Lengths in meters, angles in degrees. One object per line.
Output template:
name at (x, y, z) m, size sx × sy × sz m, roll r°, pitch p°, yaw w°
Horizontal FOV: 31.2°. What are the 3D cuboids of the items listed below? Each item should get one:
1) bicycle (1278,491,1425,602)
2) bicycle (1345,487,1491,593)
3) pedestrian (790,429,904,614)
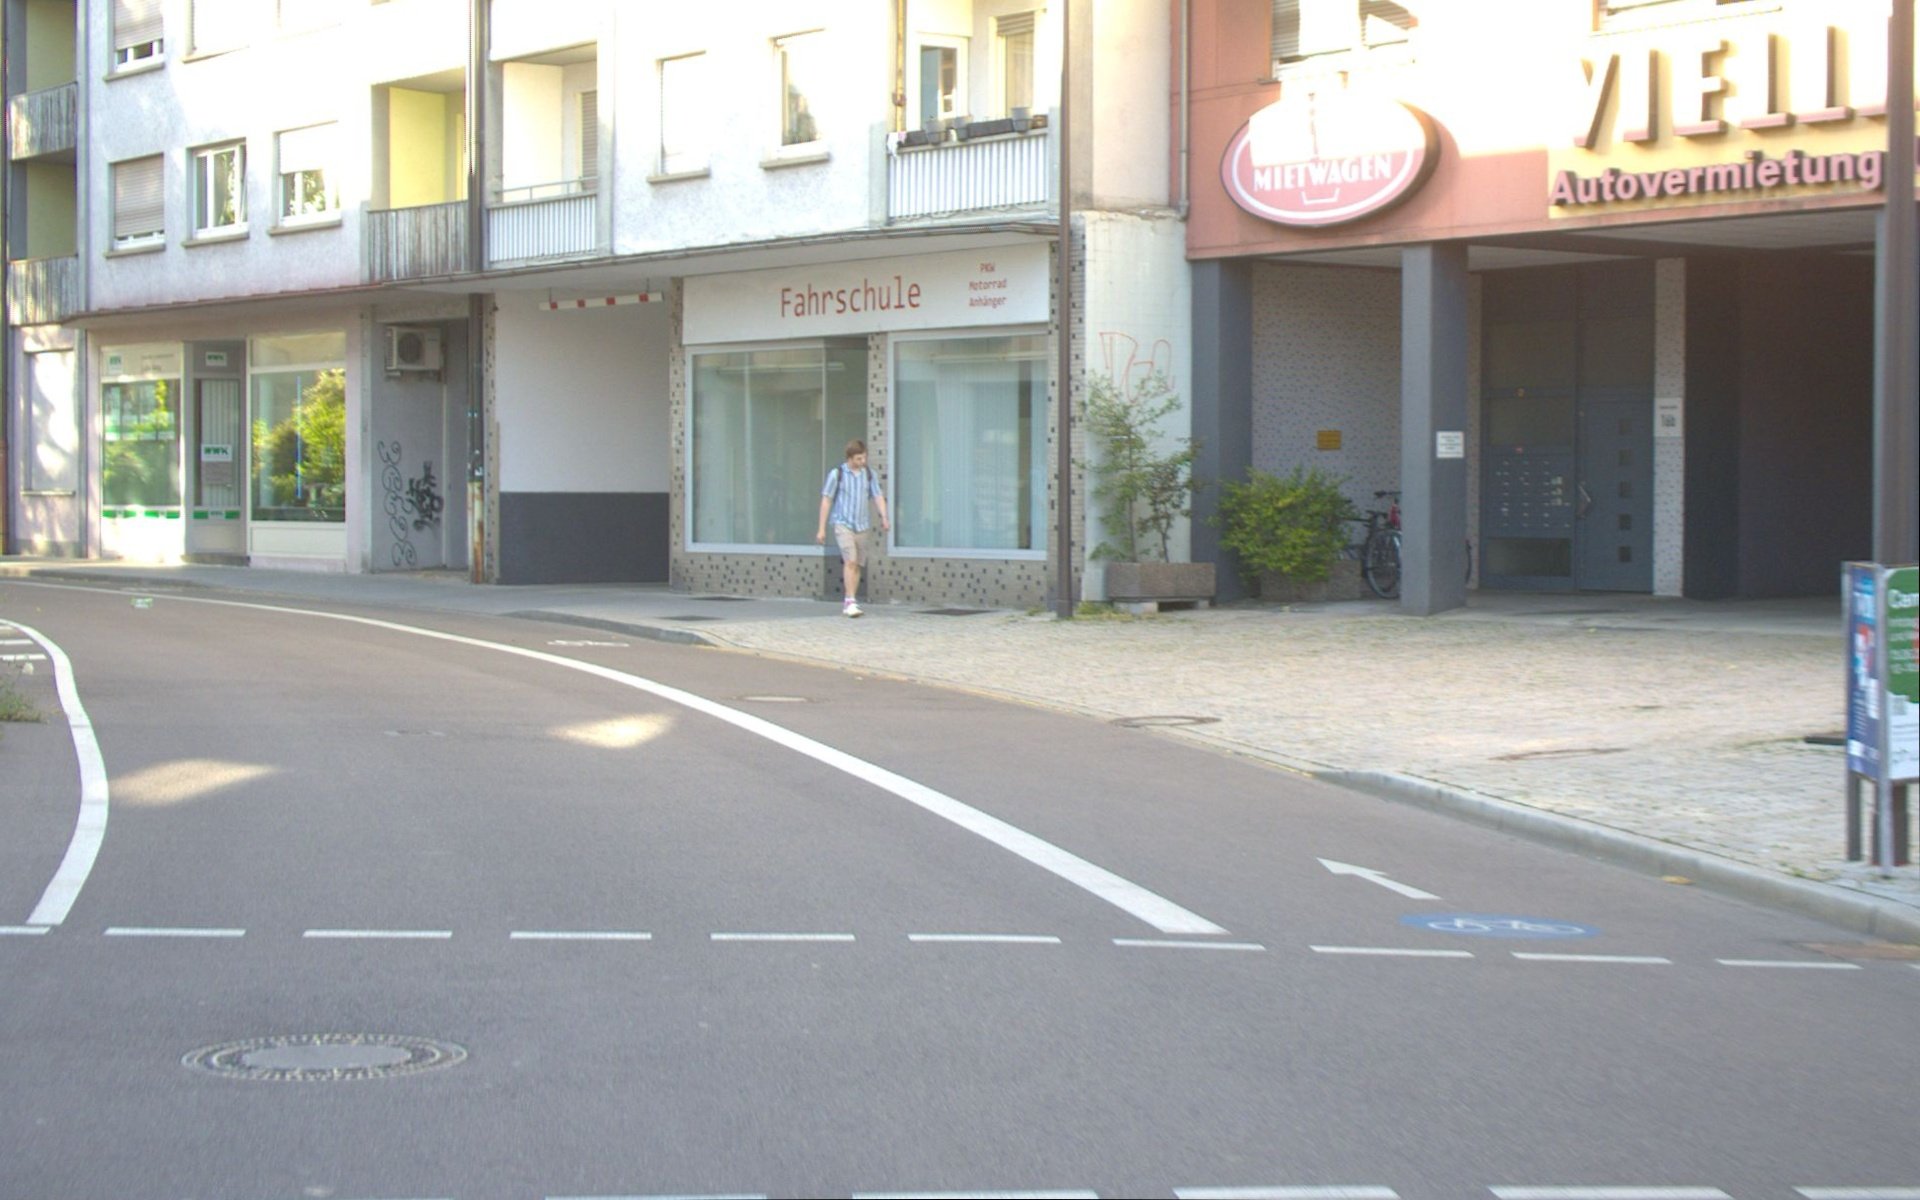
bicycle at (4.020, -0.565, 35.424) m, size 0.494 × 1.035 × 1.638 m, roll -1°, pitch 5°, yaw -36°
bicycle at (4.761, -0.637, 35.812) m, size 0.494 × 1.035 × 1.638 m, roll -1°, pitch 4°, yaw -36°
pedestrian at (-1.180, -0.830, 35.725) m, size 0.731 × 1.847 × 0.948 m, roll -4°, pitch 5°, yaw -36°
